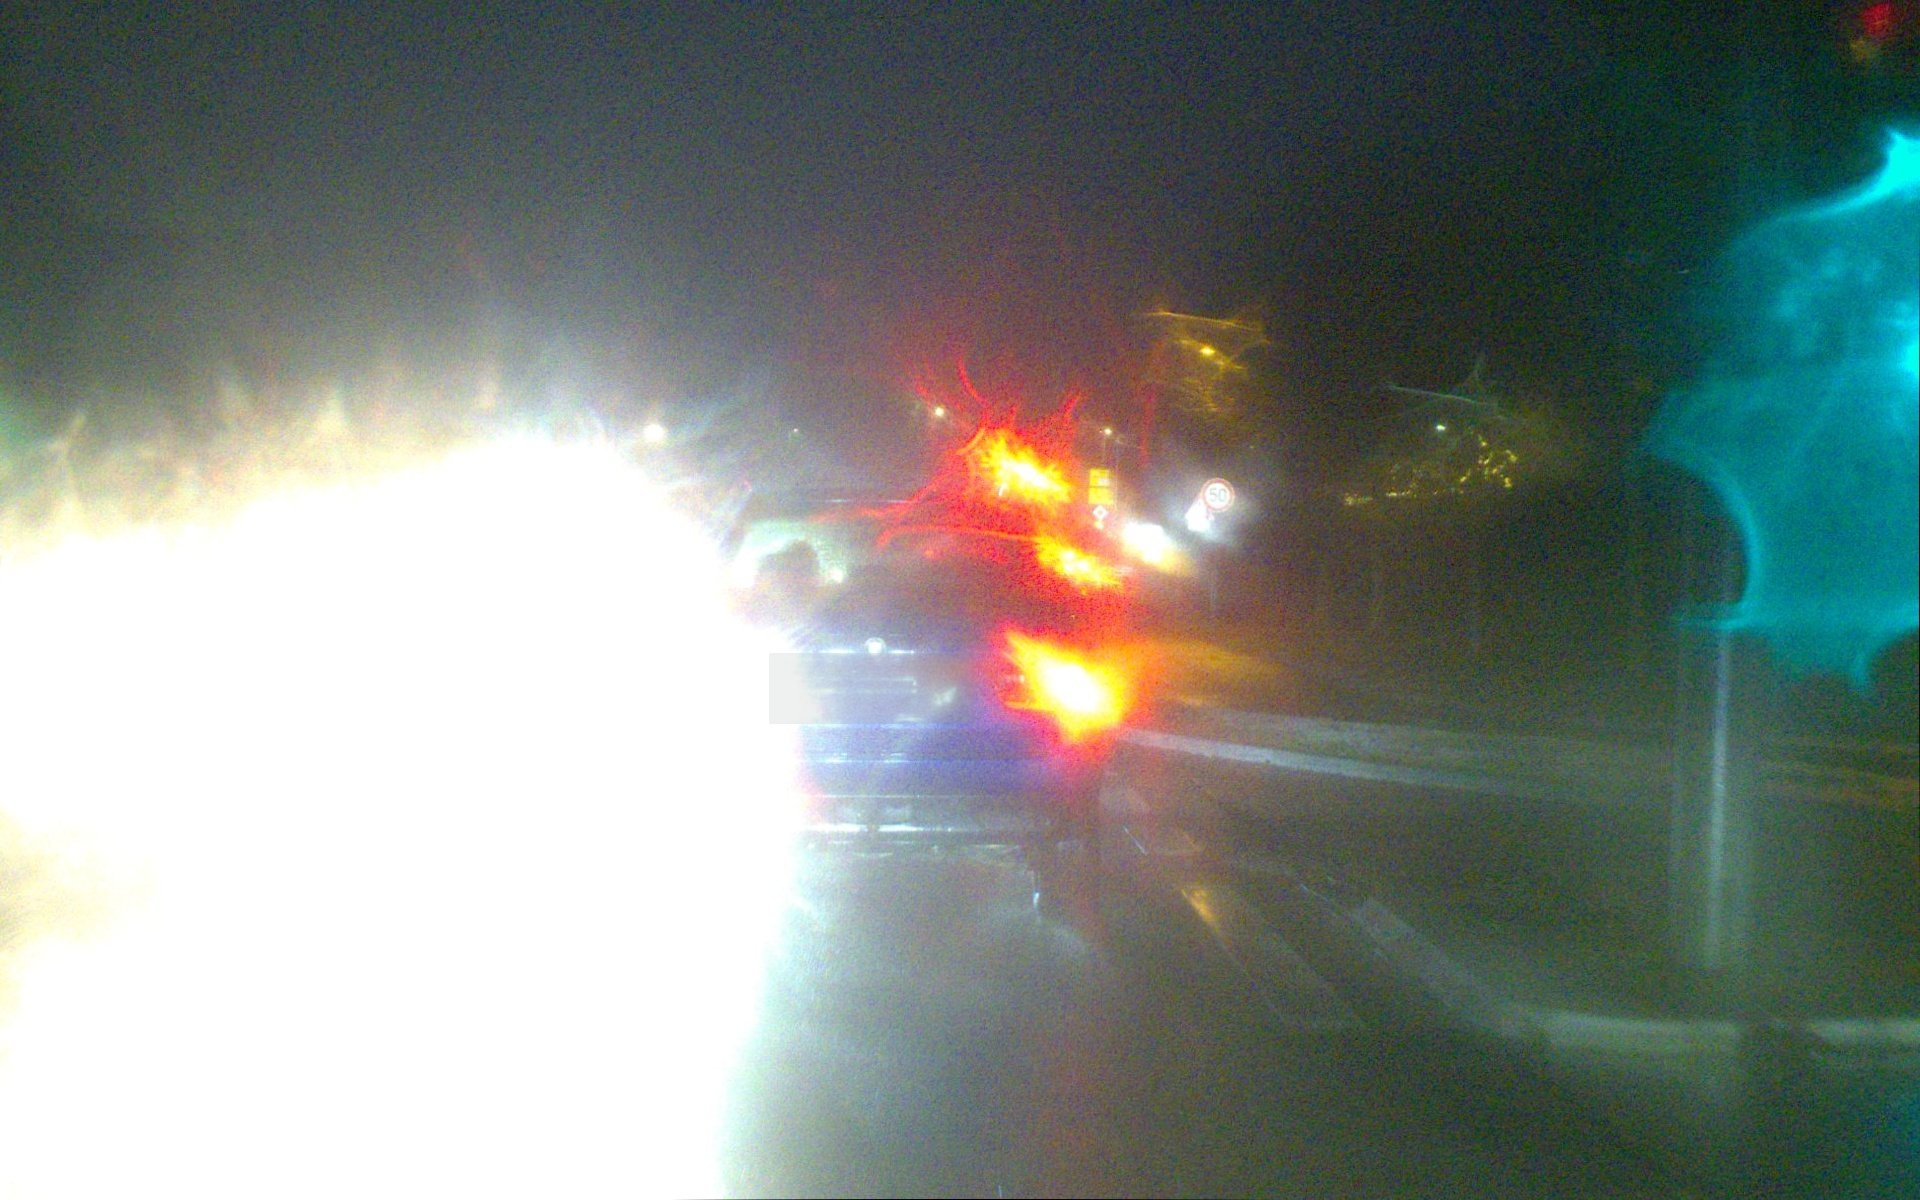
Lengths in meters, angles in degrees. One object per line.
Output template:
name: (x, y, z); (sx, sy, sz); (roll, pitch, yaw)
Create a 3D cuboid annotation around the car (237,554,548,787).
car: (-3.872, 0.426, 23.991); (1.622, 1.468, 3.885); (1, 1, -2)

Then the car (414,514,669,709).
car: (-3.826, 0.066, 32.118); (1.844, 1.663, 4.445); (1, 1, 0)

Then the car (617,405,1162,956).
car: (-0.305, 0.266, 14.632); (1.942, 1.965, 4.218); (1, 1, -1)

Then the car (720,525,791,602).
car: (-7.492, -1.337, 126.504); (2.122, 2.698, 6.240); (1, 1, 0)

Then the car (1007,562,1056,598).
car: (2.994, -0.807, 143.461); (1.663, 1.445, 4.049); (1, 0, 6)

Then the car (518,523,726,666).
car: (-3.929, -0.090, 40.705); (1.844, 1.569, 4.596); (1, 1, 2)

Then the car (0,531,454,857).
car: (-3.626, 0.407, 17.561); (1.669, 1.468, 3.634); (1, 1, -2)
